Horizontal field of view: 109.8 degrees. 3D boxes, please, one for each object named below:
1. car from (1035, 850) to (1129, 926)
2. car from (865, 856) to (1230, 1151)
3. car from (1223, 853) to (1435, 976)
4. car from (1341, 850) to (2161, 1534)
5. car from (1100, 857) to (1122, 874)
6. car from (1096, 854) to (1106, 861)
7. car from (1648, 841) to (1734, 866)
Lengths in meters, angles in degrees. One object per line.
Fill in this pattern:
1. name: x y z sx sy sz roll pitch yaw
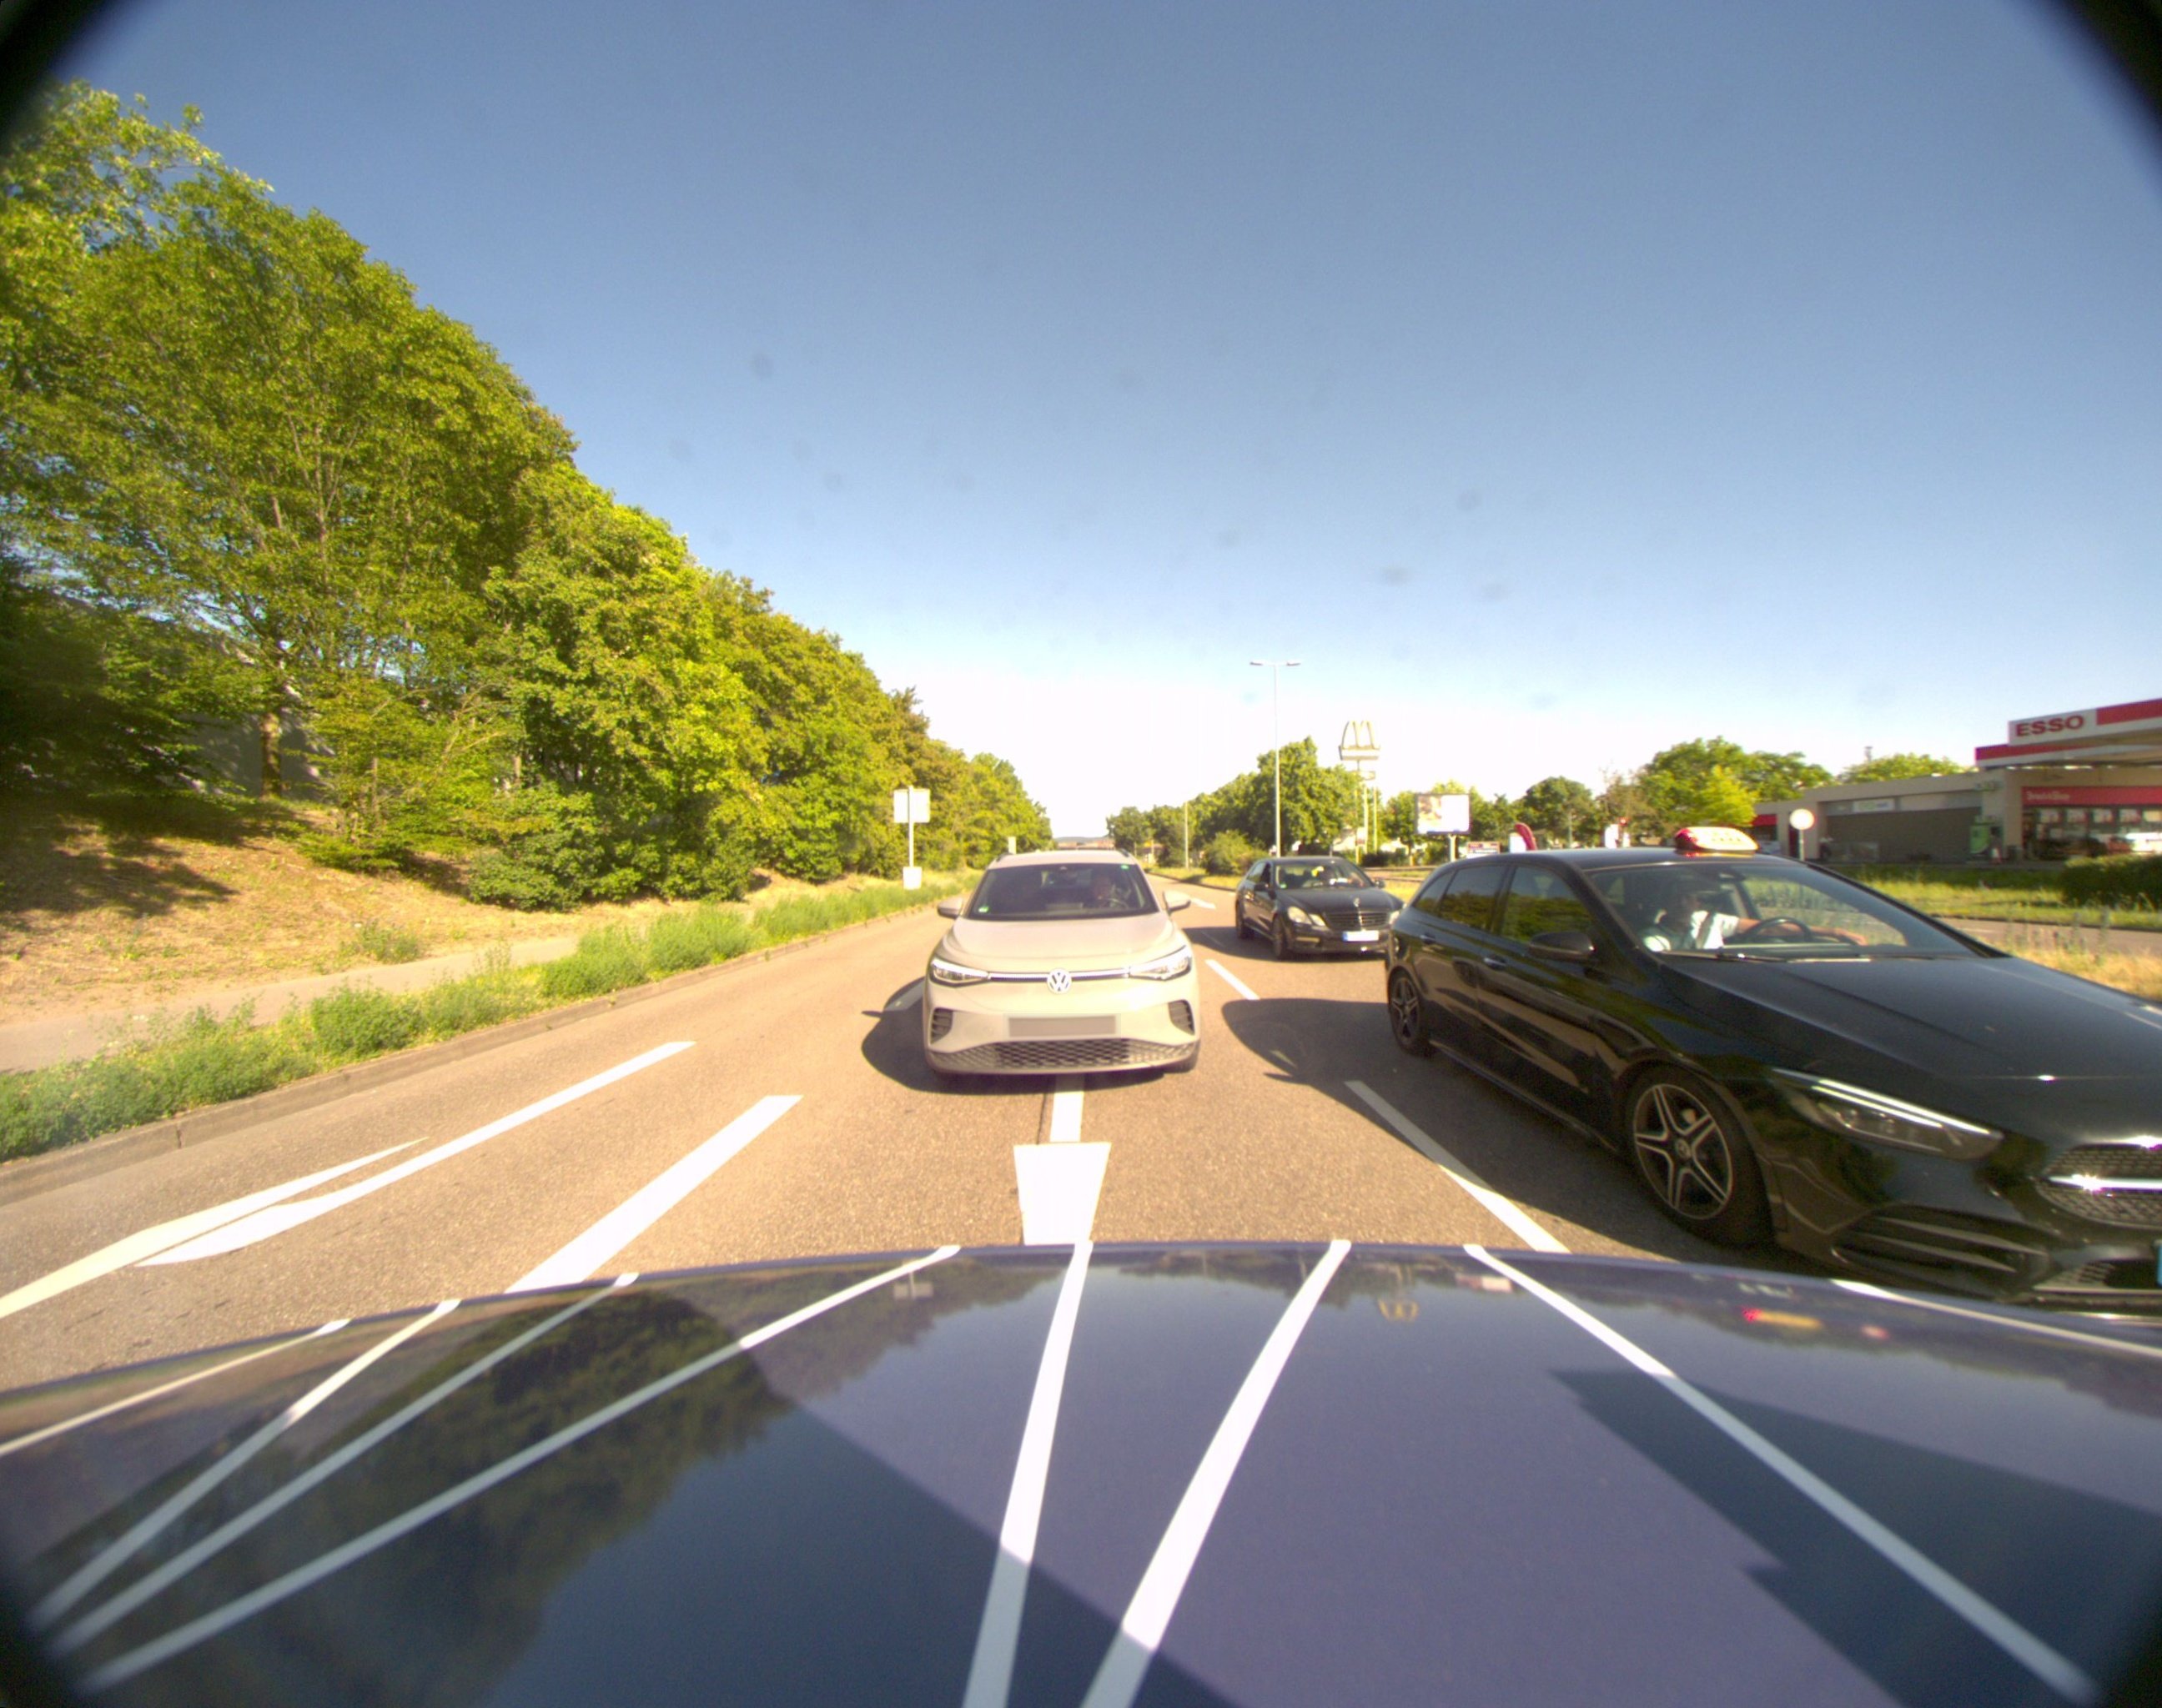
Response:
1. car: 0.050 0.760 18.881 2.036 1.601 4.098 -2 0 1
2. car: -0.165 0.862 6.387 2.025 1.601 4.098 -2 0 1
3. car: 3.678 0.793 12.202 1.953 1.501 4.462 -2 1 1
4. car: 3.103 0.807 4.107 1.788 1.592 4.583 -2 0 0
5. car: 2.814 1.069 71.985 1.998 1.434 4.000 -2 1 2
6. car: 4.408 0.791 167.663 1.998 1.433 4.000 -1 0 1
7. car: 36.964 -0.046 46.162 1.998 1.397 4.000 -1 0 0
